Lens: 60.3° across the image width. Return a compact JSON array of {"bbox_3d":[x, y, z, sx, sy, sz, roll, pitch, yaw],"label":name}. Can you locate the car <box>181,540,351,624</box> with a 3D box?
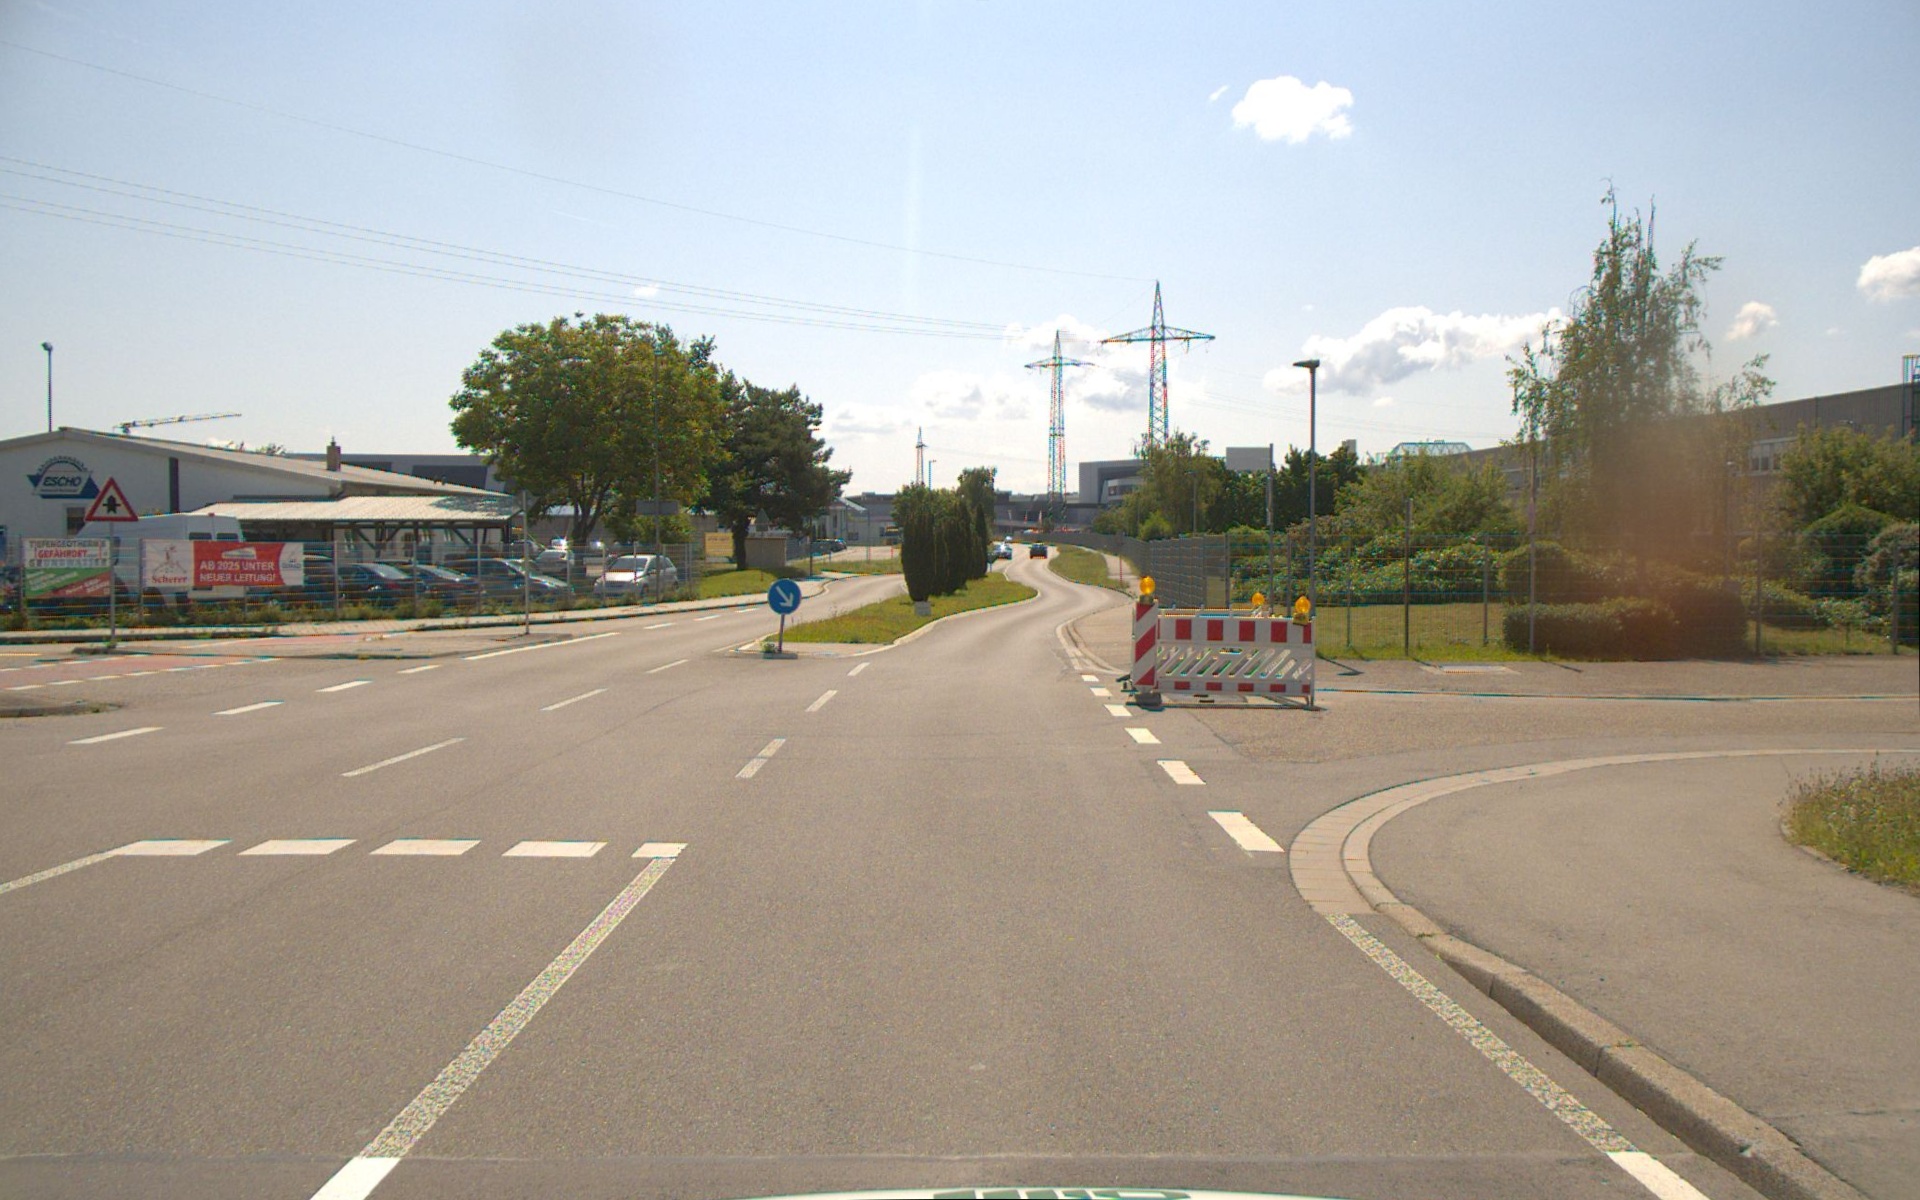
[{"bbox_3d":[-17.442,-0.498,41.539,3.913,1.936,1.997,2,3,30],"label":"car"}]

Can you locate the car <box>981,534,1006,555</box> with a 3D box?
[{"bbox_3d":[3.357,-5.586,167.019,2.439,2.048,4.667,1,3,0],"label":"car"}]

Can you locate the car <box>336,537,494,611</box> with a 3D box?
[{"bbox_3d":[-15.233,-0.763,46.246,3.908,1.936,1.999,2,3,25],"label":"car"}]

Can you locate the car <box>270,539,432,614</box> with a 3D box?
[{"bbox_3d":[-16.117,-0.665,43.784,3.913,1.811,1.997,2,3,30],"label":"car"}]

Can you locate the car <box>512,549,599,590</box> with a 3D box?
[{"bbox_3d":[-18.993,-1.436,77.891,3.918,1.882,1.829,0,1,-13],"label":"car"}]

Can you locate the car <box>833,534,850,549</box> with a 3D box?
[{"bbox_3d":[-16.375,-8.114,228.412,1.952,2.048,4.001,0,1,1],"label":"car"}]

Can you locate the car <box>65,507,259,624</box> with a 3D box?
[{"bbox_3d":[-19.023,-0.807,39.427,4.266,2.654,1.998,1,1,27],"label":"car"}]

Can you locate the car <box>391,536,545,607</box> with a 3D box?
[{"bbox_3d":[-14.356,-0.856,48.305,3.906,1.936,2.000,2,3,22],"label":"car"}]

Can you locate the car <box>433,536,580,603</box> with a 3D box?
[{"bbox_3d":[-13.888,-0.969,50.716,3.904,1.936,2.001,2,3,20],"label":"car"}]

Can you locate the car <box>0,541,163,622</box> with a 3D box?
[{"bbox_3d":[-20.226,-0.461,37.448,3.911,1.682,1.998,2,3,28],"label":"car"}]

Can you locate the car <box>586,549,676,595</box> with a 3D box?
[{"bbox_3d":[-11.449,-0.989,57.842,1.789,1.544,3.592,0,1,13],"label":"car"}]

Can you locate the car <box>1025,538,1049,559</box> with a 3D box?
[{"bbox_3d":[7.879,-5.339,169.738,2.225,1.980,4.666,3,2,0],"label":"car"}]

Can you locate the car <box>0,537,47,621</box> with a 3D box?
[{"bbox_3d":[-21.767,-0.489,35.554,3.912,1.708,1.997,2,3,29],"label":"car"}]
